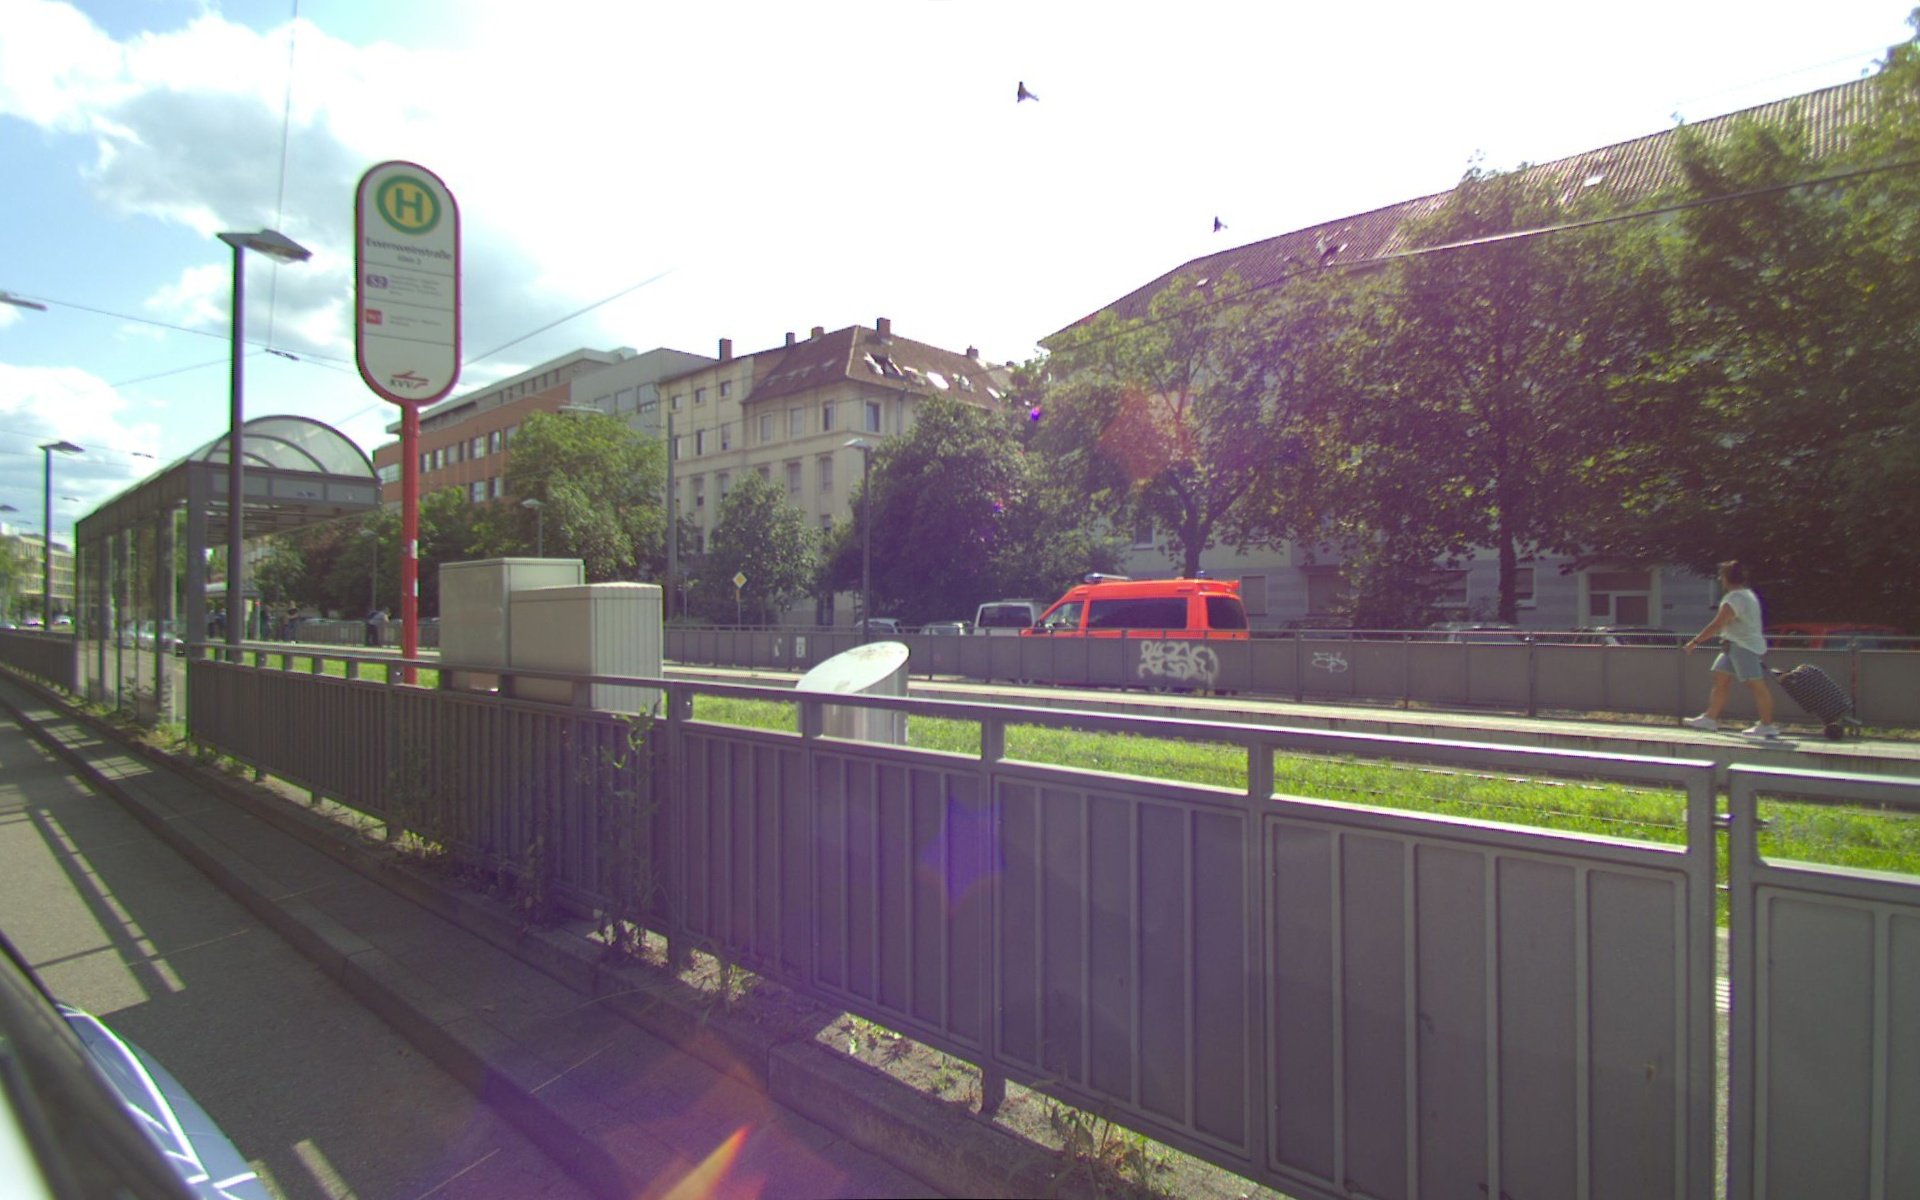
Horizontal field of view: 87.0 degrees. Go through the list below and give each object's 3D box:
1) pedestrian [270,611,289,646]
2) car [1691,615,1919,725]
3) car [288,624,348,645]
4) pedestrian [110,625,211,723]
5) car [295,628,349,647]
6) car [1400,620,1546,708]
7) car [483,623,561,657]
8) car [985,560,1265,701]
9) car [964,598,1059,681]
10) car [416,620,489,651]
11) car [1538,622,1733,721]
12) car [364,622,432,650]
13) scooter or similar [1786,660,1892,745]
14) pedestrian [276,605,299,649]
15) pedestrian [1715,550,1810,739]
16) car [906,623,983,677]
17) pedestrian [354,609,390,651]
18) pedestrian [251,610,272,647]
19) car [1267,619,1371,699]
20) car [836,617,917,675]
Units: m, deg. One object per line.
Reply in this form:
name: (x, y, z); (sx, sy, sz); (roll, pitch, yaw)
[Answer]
pedestrian: (-32.733, 1.357, 48.682); (0.625, 1.687, 0.600); (-1, -1, 43)
car: (13.827, 1.062, 16.555); (1.632, 1.591, 3.652); (-1, -1, 12)
car: (-47.974, 2.546, 75.704); (1.631, 1.508, 3.993); (-1, -1, 6)
pedestrian: (-9.194, 0.837, 11.664); (0.652, 1.080, 0.725); (0, -2, -13)
car: (-45.818, 2.663, 72.727); (1.585, 1.314, 3.244); (-1, -1, 8)
car: (9.853, 1.167, 19.745); (1.593, 1.525, 4.011); (0, -1, 13)
car: (-21.544, 1.937, 49.986); (1.901, 1.576, 4.150); (1, -1, 2)
car: (2.949, 0.581, 18.770); (4.833, 2.293, 1.972); (-1, -4, 43)
car: (1.500, 1.050, 27.816); (2.029, 2.086, 3.937); (-1, -1, 12)
car: (-28.405, 1.951, 56.816); (1.811, 1.652, 4.132); (1, -1, 3)
car: (11.910, 1.189, 18.133); (1.632, 1.591, 3.652); (-1, -1, 12)
car: (-34.722, 2.195, 62.656); (1.652, 1.540, 3.992); (-2, 0, 6)
scooter or similar: (7.978, 0.913, 9.192); (0.700, 0.704, 0.438); (-1, -2, 42)
pedestrian: (-29.911, 1.193, 45.026); (0.742, 1.906, 0.639); (1, 1, -45)
pedestrian: (7.488, 0.404, 9.441); (0.632, 1.677, 0.653); (-1, -2, 42)
car: (-0.396, 1.445, 30.197); (1.591, 1.497, 3.988); (-1, -1, 9)
pedestrian: (-22.893, 1.158, 39.386); (0.798, 1.590, 0.978); (-1, -1, 40)
pedestrian: (-33.286, 1.342, 48.248); (0.599, 1.767, 0.626); (0, -1, -7)
car: (7.741, 1.222, 22.113); (1.632, 1.591, 3.652); (-1, -1, 12)
car: (-2.544, 1.396, 31.846); (1.805, 1.652, 3.992); (-2, -1, 6)
